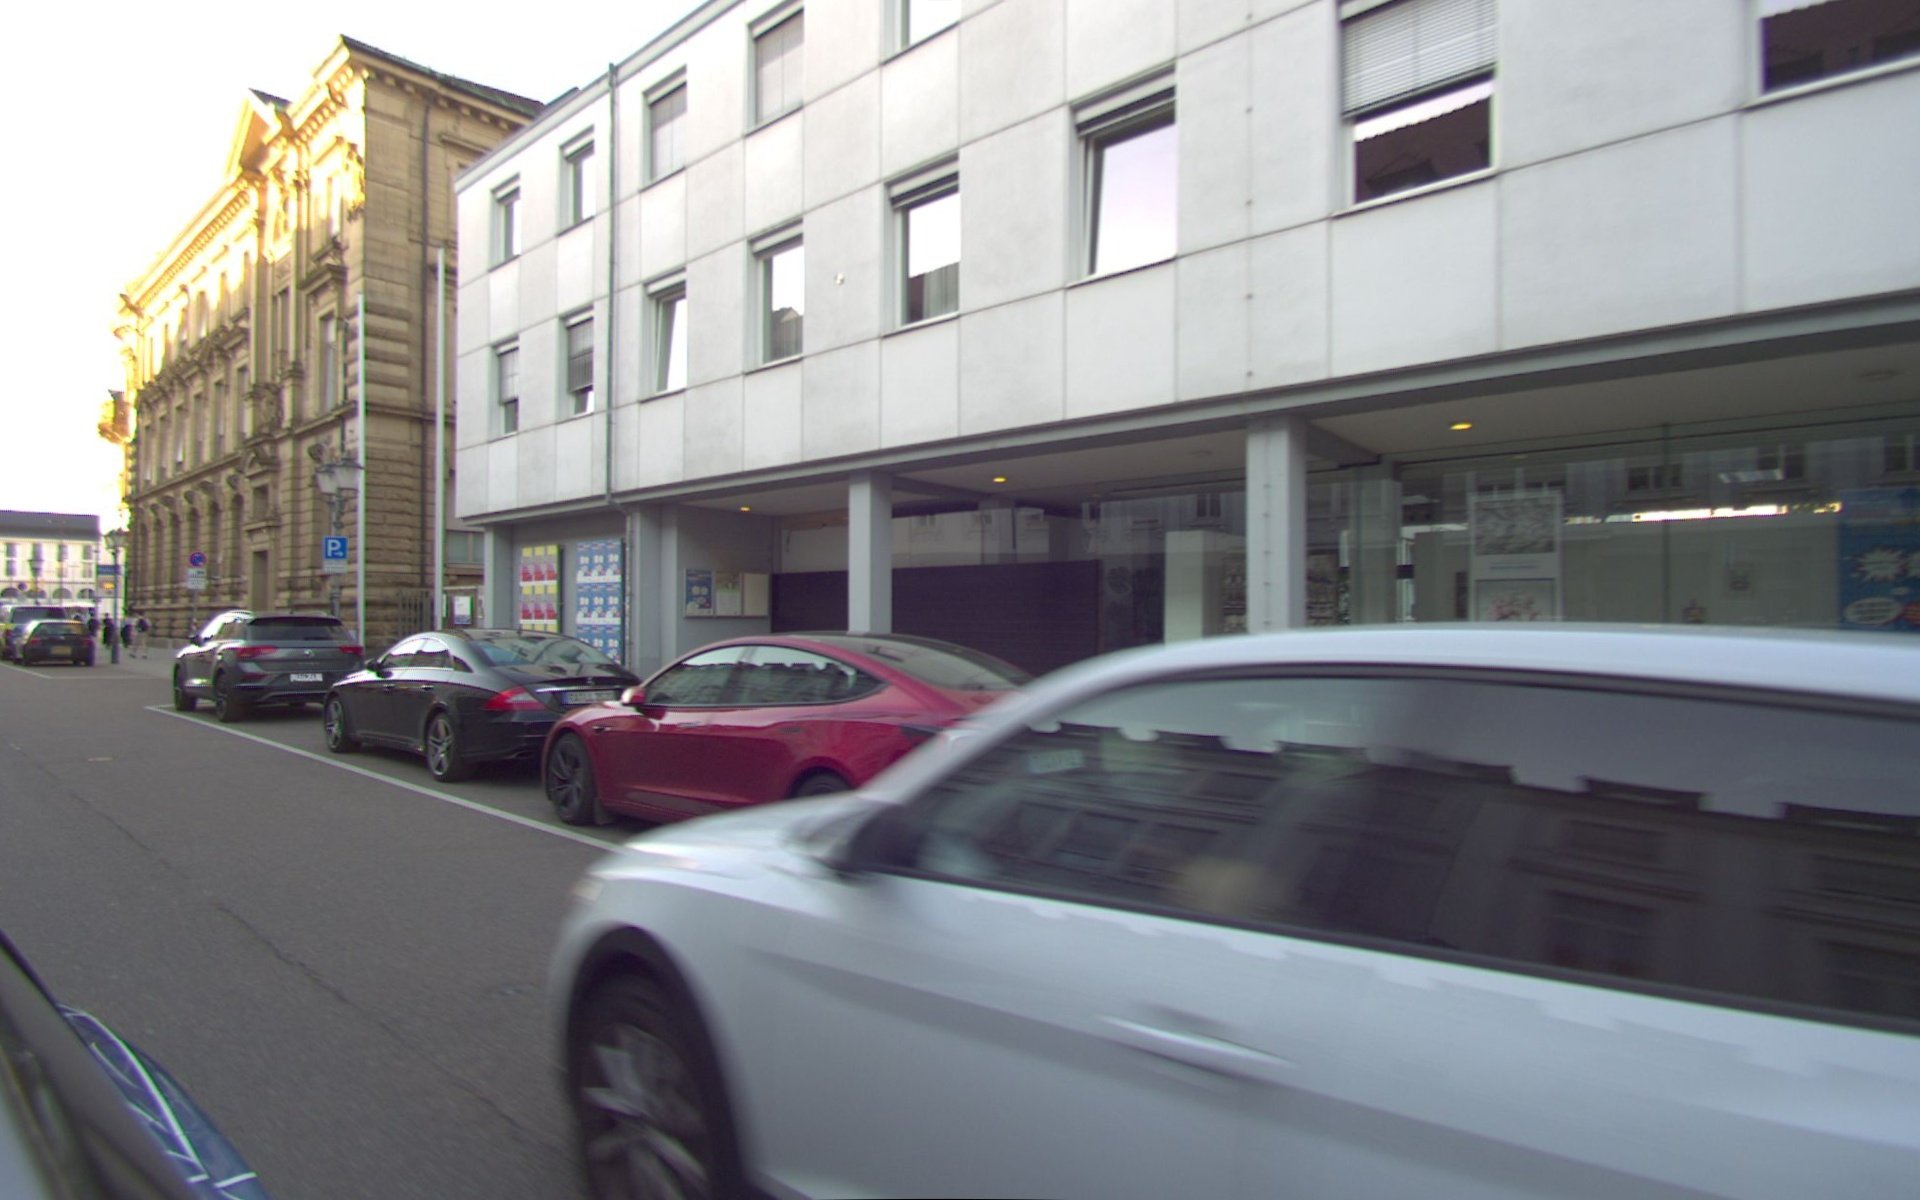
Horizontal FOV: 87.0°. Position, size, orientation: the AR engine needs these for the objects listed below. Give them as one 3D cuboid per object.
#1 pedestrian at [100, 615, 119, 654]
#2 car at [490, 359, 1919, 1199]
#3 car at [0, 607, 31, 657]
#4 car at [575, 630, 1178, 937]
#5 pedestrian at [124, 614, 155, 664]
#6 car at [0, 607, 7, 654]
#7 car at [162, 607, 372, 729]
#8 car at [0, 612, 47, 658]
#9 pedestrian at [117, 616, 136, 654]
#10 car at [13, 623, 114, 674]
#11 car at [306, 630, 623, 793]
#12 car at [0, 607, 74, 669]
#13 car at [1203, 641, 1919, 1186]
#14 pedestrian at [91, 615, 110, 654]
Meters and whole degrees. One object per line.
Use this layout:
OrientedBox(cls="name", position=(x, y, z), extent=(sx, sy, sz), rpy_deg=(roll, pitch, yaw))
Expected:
OrientedBox(cls="pedestrian", position=(-39.156, 1.579, 46.607), extent=(0.831, 1.743, 0.576), rpy_deg=(-1, -2, 43))
OrientedBox(cls="car", position=(0.826, 0.570, 2.021), extent=(3.999, 1.433, 1.745), rpy_deg=(-1, -4, 42))
OrientedBox(cls="car", position=(-42.577, 1.380, 44.592), extent=(5.206, 2.103, 1.972), rpy_deg=(-1, -2, 42))
OrientedBox(cls="car", position=(-0.782, 0.924, 6.826), extent=(4.088, 1.419, 1.765), rpy_deg=(-1, -2, 43))
OrientedBox(cls="pedestrian", position=(-29.949, 1.409, 36.954), extent=(0.896, 1.743, 0.706), rpy_deg=(-1, 1, 43))
OrientedBox(cls="car", position=(-47.938, 1.478, 49.018), extent=(5.202, 2.188, 1.974), rpy_deg=(-1, -1, 40))
OrientedBox(cls="car", position=(-10.721, 0.951, 15.545), extent=(4.165, 1.627, 1.765), rpy_deg=(-1, -2, 43))
OrientedBox(cls="car", position=(-38.522, 1.367, 40.729), extent=(4.986, 1.765, 1.973), rpy_deg=(-1, -2, 40))
OrientedBox(cls="pedestrian", position=(-38.957, 1.614, 47.300), extent=(0.703, 1.743, 0.600), rpy_deg=(-1, -2, 43))
OrientedBox(cls="car", position=(-28.727, 1.505, 32.391), extent=(4.164, 1.506, 1.972), rpy_deg=(-1, -2, 42))
OrientedBox(cls="car", position=(-5.533, 1.055, 11.063), extent=(4.088, 1.419, 1.765), rpy_deg=(-1, -2, 43))
OrientedBox(cls="car", position=(-33.832, 1.305, 36.634), extent=(4.988, 2.093, 1.972), rpy_deg=(0, -1, 41))
OrientedBox(cls="car", position=(3.117, 0.868, 3.462), extent=(3.999, 1.364, 1.972), rpy_deg=(-1, -1, 42))
OrientedBox(cls="pedestrian", position=(-39.388, 1.575, 46.367), extent=(0.744, 1.743, 0.567), rpy_deg=(-1, -2, 43))
